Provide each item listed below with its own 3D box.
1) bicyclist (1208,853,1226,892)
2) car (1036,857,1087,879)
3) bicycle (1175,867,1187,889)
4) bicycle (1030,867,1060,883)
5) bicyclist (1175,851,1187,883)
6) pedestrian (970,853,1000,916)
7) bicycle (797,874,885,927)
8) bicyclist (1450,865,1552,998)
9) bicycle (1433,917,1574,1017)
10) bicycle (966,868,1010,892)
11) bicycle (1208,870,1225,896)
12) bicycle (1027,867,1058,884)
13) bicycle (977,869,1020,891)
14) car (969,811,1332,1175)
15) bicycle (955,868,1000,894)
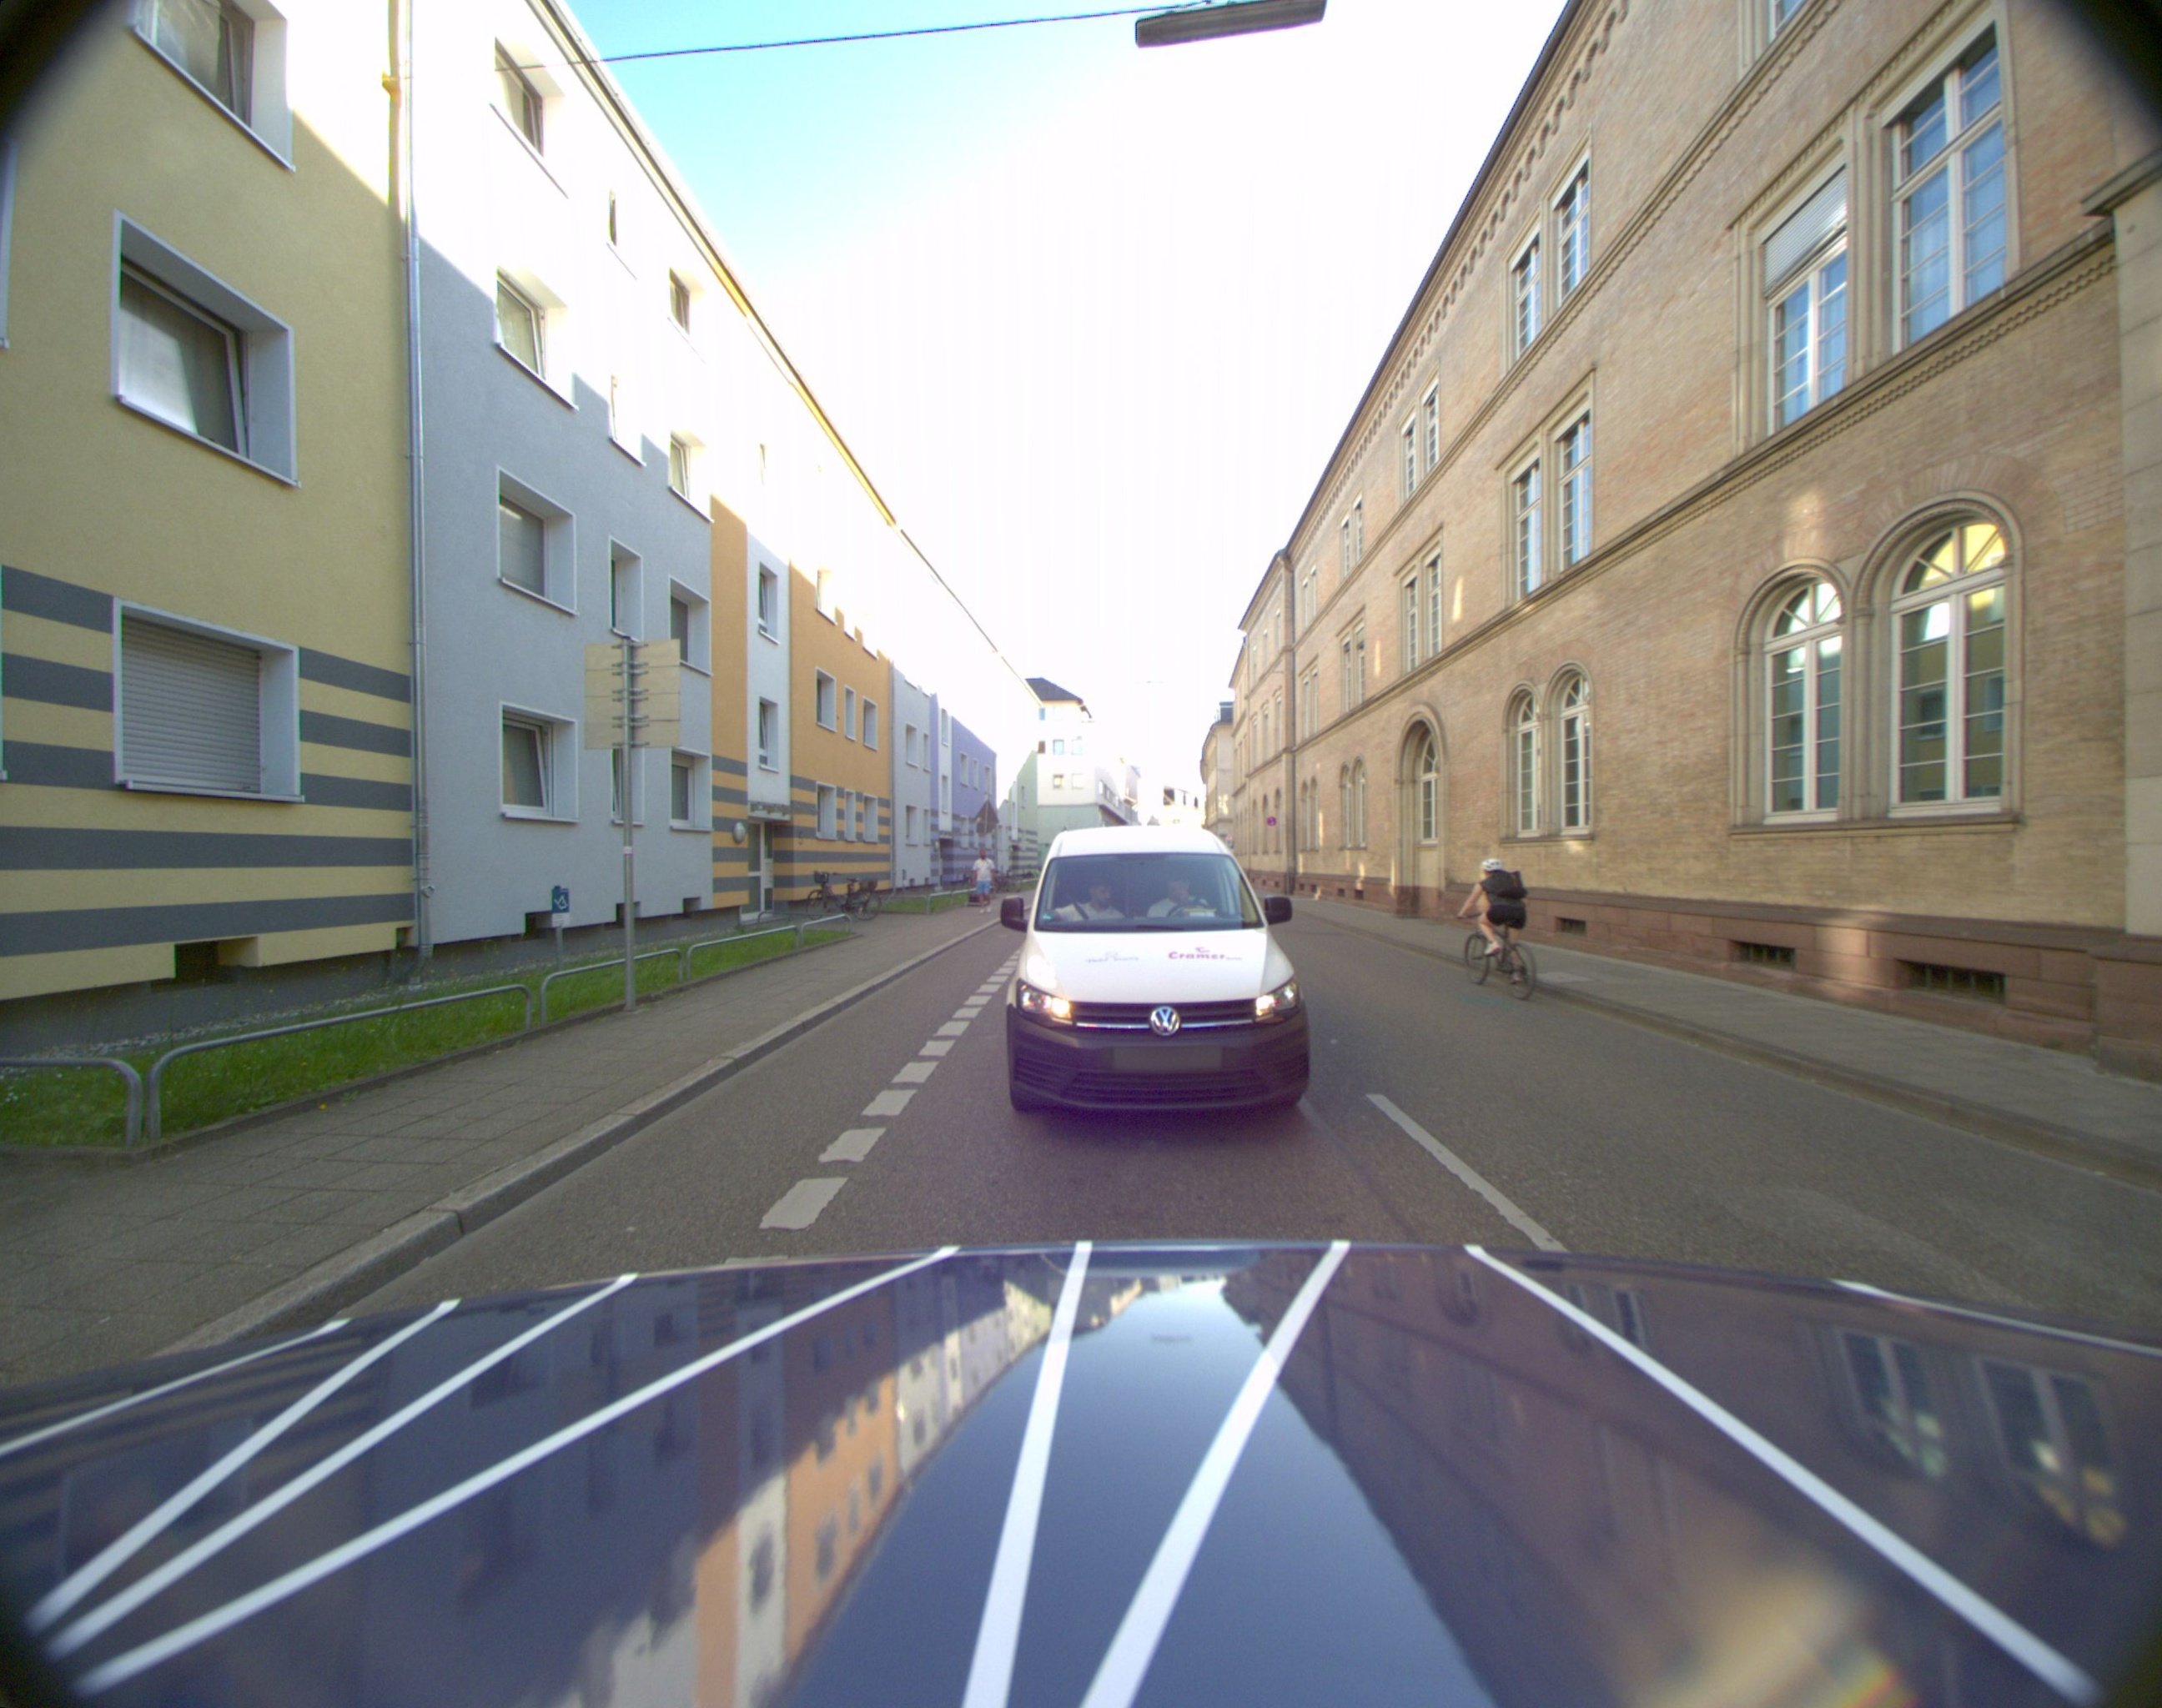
[{"bbox_3d":[5.682,0.760,31.791,0.651,1.558,0.961,2,0,9],"label":"bicyclist"},{"bbox_3d":[-1.597,1.173,63.494,3.995,1.681,1.901,-2,1,5],"label":"car"},{"bbox_3d":[4.883,1.157,37.228,0.546,1.001,1.758,2,0,7],"label":"bicycle"},{"bbox_3d":[-2.238,1.339,47.627,1.775,0.934,0.584,1,1,7],"label":"bicycle"},{"bbox_3d":[4.906,0.629,37.321,0.546,1.524,0.870,2,0,7],"label":"bicyclist"},{"bbox_3d":[-2.589,0.811,20.515,0.644,1.662,0.834,1,0,3],"label":"pedestrian"},{"bbox_3d":[-5.396,1.029,17.120,1.776,1.118,0.583,1,1,-1],"label":"bicycle"},{"bbox_3d":[4.965,0.886,9.040,0.687,1.467,0.871,2,0,1],"label":"bicyclist"},{"bbox_3d":[4.973,1.293,9.096,0.687,0.919,1.766,2,0,1],"label":"bicycle"},{"bbox_3d":[-4.051,1.123,33.219,1.775,0.990,0.584,1,1,7],"label":"bicycle"},{"bbox_3d":[5.676,1.210,31.799,0.651,1.001,1.808,2,0,9],"label":"bicycle"},{"bbox_3d":[-2.318,1.307,46.090,1.775,0.934,0.584,1,1,7],"label":"bicycle"},{"bbox_3d":[-3.661,1.161,33.835,1.775,0.934,0.584,1,1,7],"label":"bicycle"},{"bbox_3d":[0.387,0.710,6.500,1.819,1.825,5.341,0,0,1],"label":"car"},{"bbox_3d":[-4.328,1.132,31.876,1.775,0.990,0.584,1,1,7],"label":"bicycle"}]
